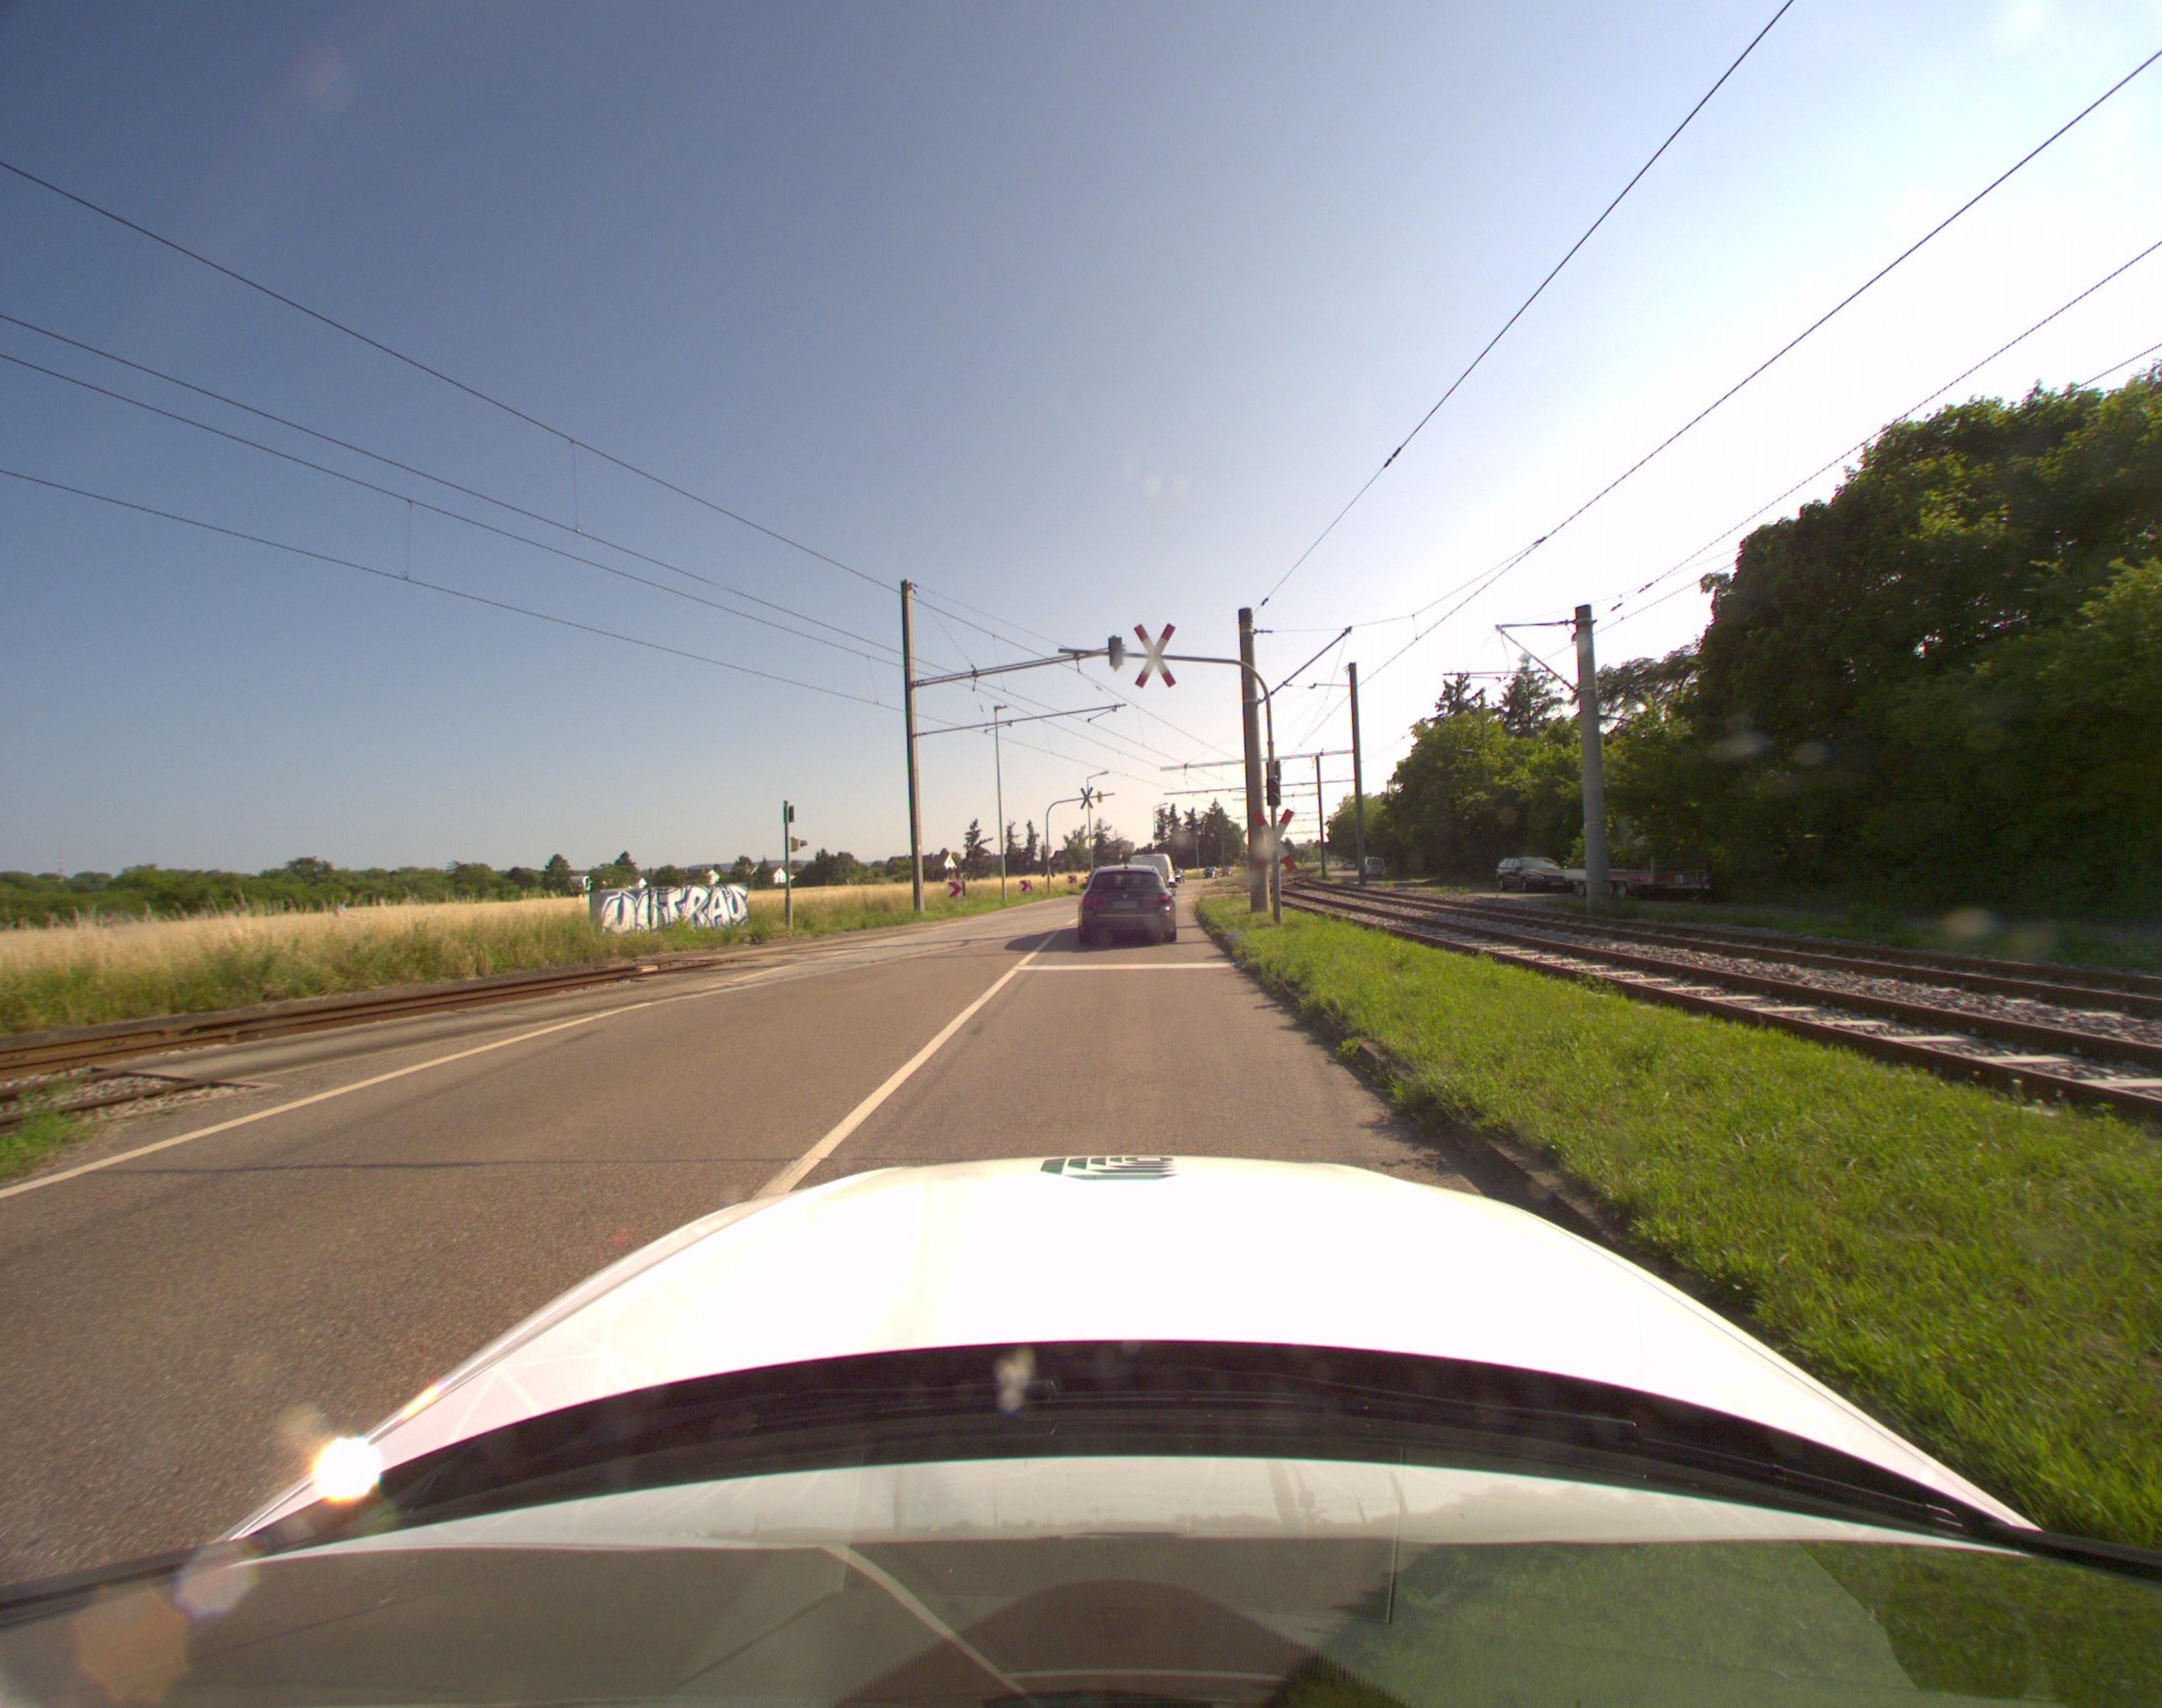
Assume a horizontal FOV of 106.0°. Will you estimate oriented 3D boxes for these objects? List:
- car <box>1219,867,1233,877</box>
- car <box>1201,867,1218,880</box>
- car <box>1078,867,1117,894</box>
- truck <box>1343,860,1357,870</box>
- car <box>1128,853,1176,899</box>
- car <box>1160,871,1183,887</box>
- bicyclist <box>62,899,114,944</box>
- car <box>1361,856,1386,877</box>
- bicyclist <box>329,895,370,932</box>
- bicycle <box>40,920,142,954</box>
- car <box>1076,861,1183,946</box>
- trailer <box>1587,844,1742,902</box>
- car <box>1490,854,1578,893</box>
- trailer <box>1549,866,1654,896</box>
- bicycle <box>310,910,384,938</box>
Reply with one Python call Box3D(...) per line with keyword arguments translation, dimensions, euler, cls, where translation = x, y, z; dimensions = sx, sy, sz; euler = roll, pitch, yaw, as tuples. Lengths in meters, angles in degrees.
Box3D(translation=(22.722, 2.812, 127.321), dimensions=(1.700, 1.549, 3.944), euler=(-2, -1, 15), cls="car")
Box3D(translation=(17.968, 2.752, 113.577), dimensions=(1.693, 1.665, 4.610), euler=(-2, -1, 17), cls="car")
Box3D(translation=(1.036, 1.567, 48.737), dimensions=(1.613, 1.494, 4.011), euler=(-3, -2, 10), cls="car")
Box3D(translation=(50.834, 2.125, 153.893), dimensions=(2.187, 1.819, 5.954), euler=(-2, -1, 16), cls="truck")
Box3D(translation=(3.396, 0.994, 38.078), dimensions=(1.847, 1.988, 5.120), euler=(-2, -1, 9), cls="car")
Box3D(translation=(9.177, 2.499, 82.293), dimensions=(1.681, 1.440, 4.299), euler=(-1, -1, 13), cls="car")
Box3D(translation=(-28.432, 1.922, 23.322), dimensions=(0.597, 1.205, 0.794), euler=(-2, -1, 23), cls="bicyclist")
Box3D(translation=(29.118, 1.247, 81.233), dimensions=(1.978, 2.004, 5.088), euler=(0, -1, 16), cls="car")
Box3D(translation=(-25.282, 2.056, 28.138), dimensions=(0.739, 1.205, 0.794), euler=(-2, -2, 22), cls="bicyclist")
Box3D(translation=(-28.390, 2.373, 23.396), dimensions=(0.607, 0.839, 1.745), euler=(-2, -2, 23), cls="bicycle")
Box3D(translation=(0.949, 0.905, 16.869), dimensions=(1.862, 1.452, 4.745), euler=(-2, 0, 2), cls="car")
Box3D(translation=(17.394, 0.567, 24.583), dimensions=(2.016, 1.596, 4.267), euler=(0, -1, 7), cls="trailer")
Box3D(translation=(18.475, 0.763, 33.471), dimensions=(1.688, 1.456, 4.894), euler=(0, 0, 10), cls="car")
Box3D(translation=(18.136, 0.913, 28.569), dimensions=(1.722, 0.939, 3.736), euler=(1, -1, 8), cls="trailer")
Box3D(translation=(-25.286, 2.416, 28.078), dimensions=(0.743, 0.839, 1.745), euler=(-2, -2, 23), cls="bicycle")
